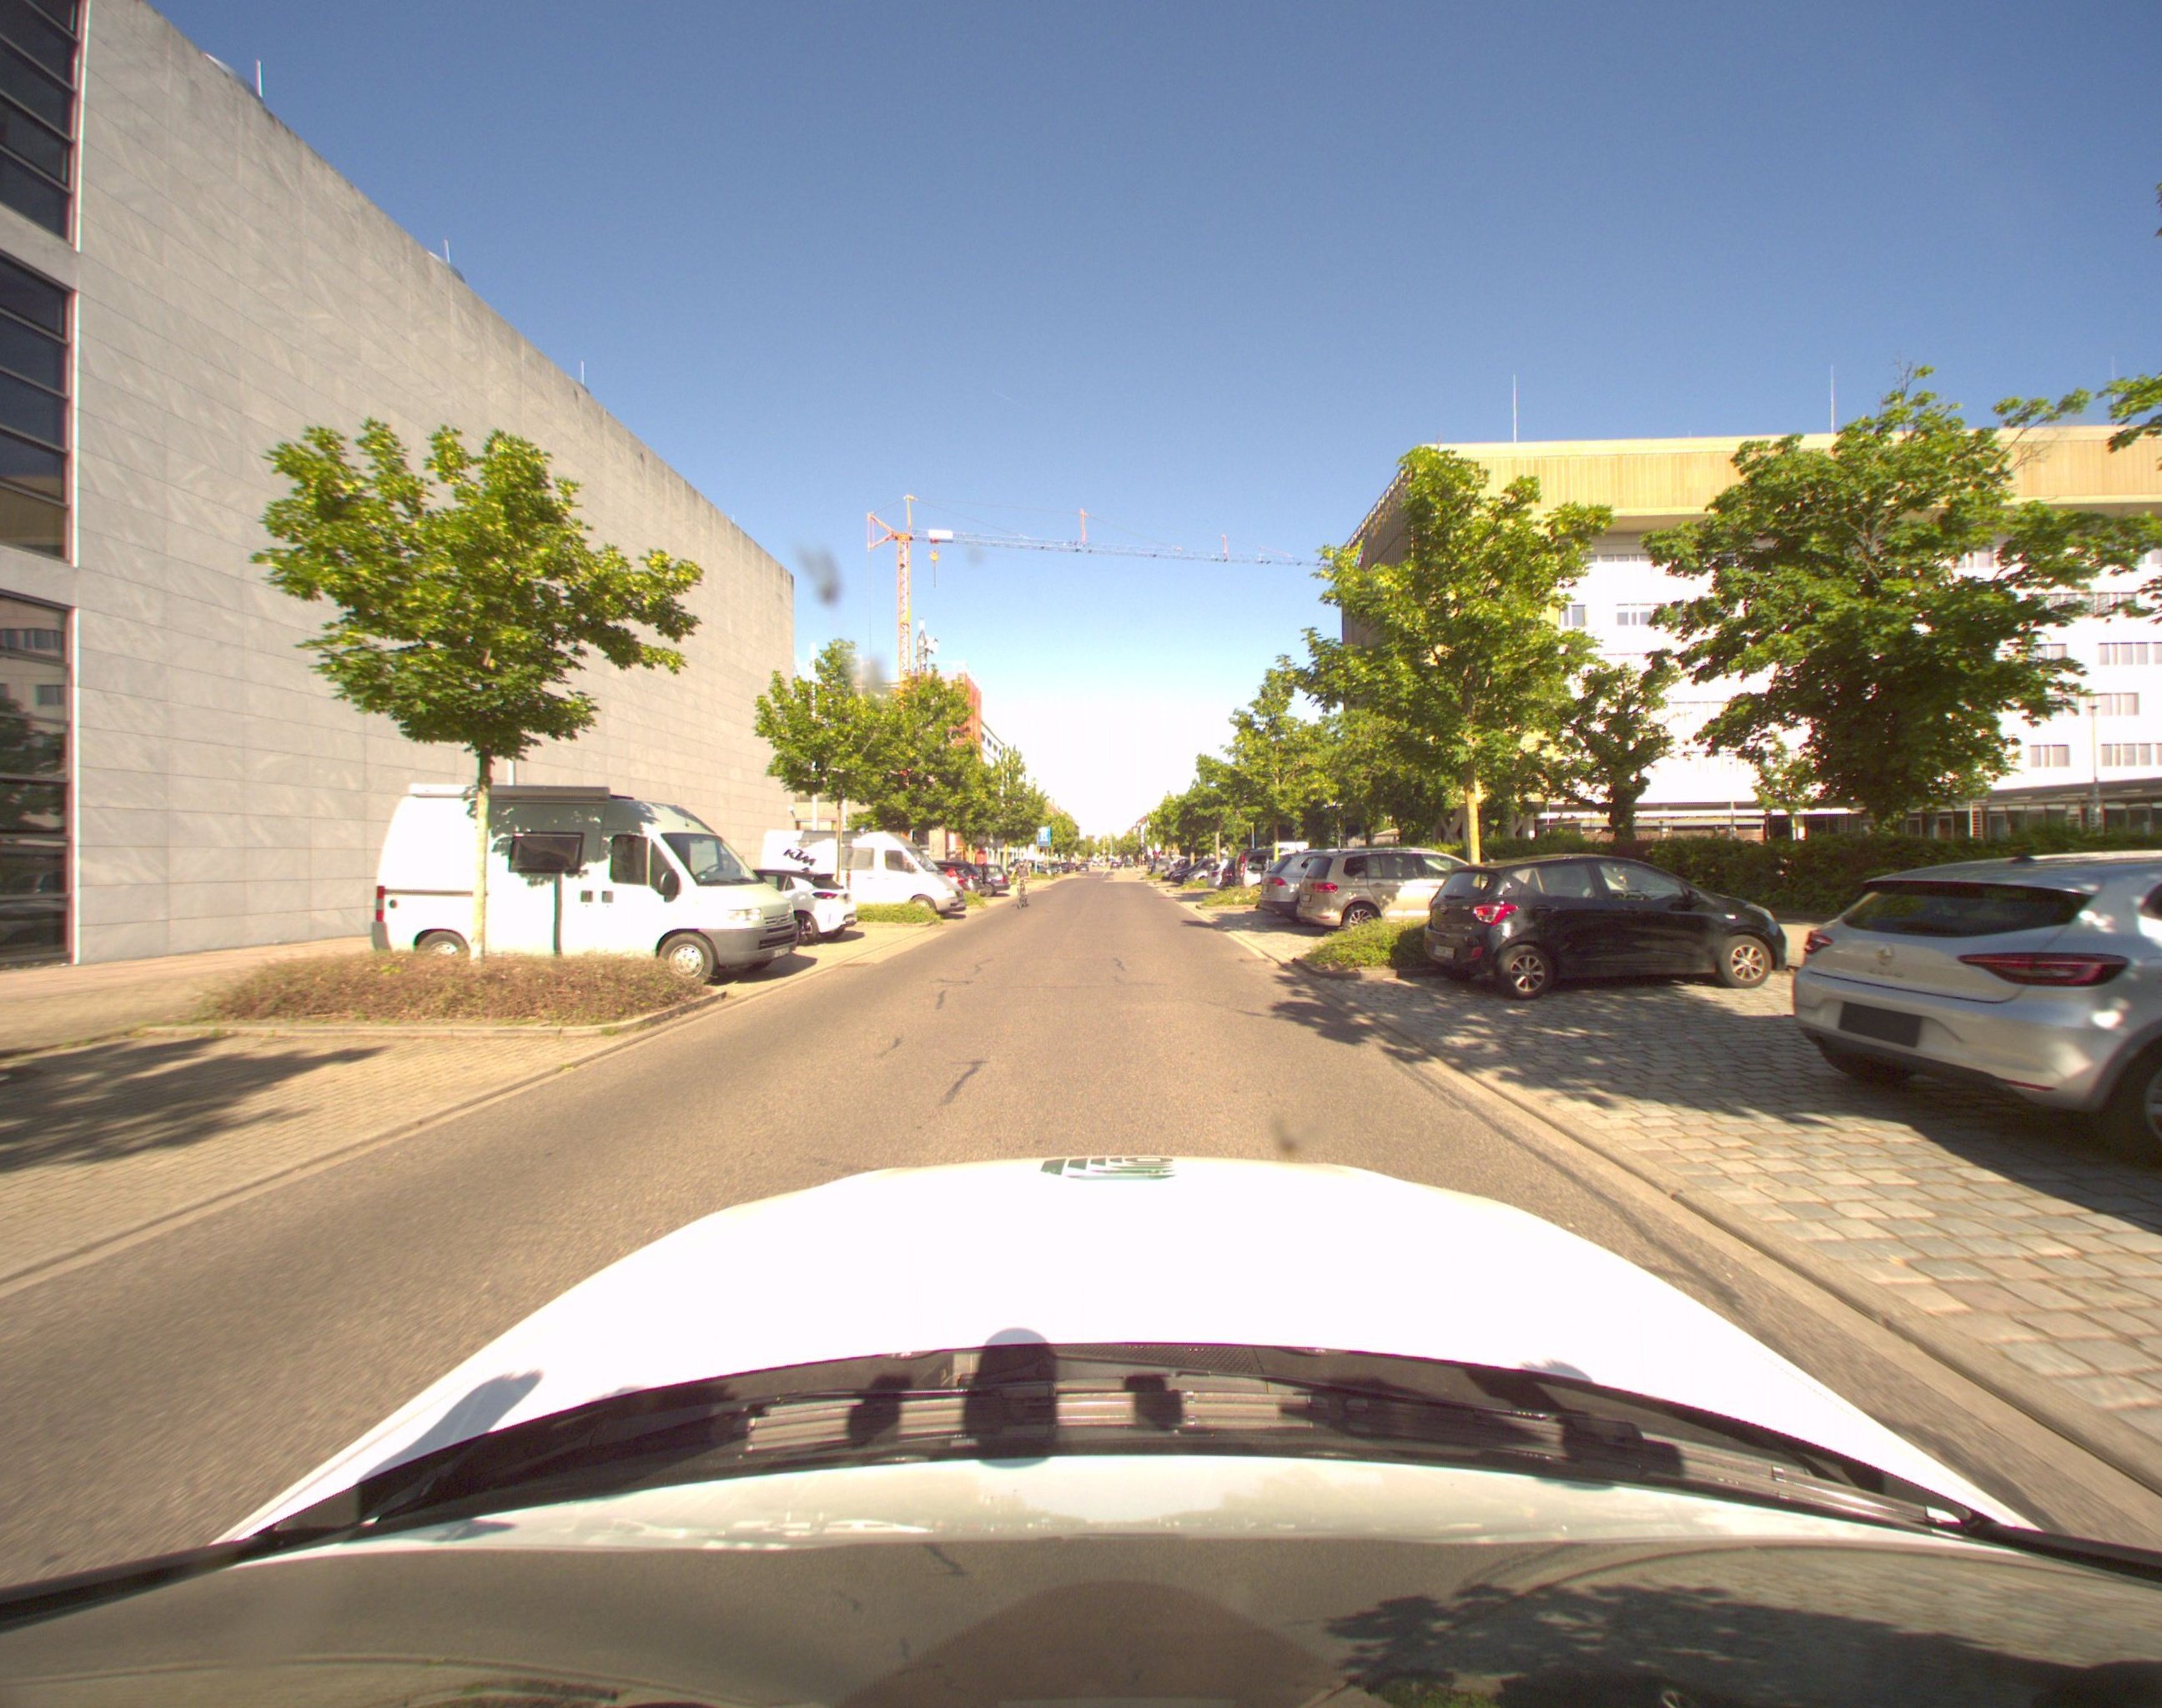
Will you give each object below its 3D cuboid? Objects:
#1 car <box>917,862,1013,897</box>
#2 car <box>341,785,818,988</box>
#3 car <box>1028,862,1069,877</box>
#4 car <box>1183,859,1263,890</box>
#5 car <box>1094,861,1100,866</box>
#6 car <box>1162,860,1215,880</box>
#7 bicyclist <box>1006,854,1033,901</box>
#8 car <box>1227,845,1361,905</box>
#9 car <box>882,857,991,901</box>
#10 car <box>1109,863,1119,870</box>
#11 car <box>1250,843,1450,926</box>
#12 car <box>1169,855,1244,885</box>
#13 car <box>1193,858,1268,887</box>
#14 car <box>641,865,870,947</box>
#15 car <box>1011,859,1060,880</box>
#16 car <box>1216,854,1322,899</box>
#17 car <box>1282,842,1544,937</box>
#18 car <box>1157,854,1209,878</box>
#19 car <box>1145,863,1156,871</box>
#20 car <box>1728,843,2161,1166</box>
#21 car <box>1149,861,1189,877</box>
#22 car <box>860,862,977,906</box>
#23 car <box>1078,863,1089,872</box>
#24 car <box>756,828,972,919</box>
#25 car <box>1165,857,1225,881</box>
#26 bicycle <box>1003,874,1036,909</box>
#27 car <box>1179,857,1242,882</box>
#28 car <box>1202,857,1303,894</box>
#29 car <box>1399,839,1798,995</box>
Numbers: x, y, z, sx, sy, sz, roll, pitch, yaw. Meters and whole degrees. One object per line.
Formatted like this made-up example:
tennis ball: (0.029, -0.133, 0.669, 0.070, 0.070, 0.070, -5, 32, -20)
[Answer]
car: (-5.299, 1.145, 37.569, 4.118, 1.492, 1.868, 1, 1, -1)
car: (-6.636, 0.398, 11.240, 5.226, 2.418, 2.125, 1, -1, 3)
car: (-3.456, 1.683, 86.965, 4.319, 1.474, 1.817, -1, 0, -2)
car: (7.365, 1.034, 42.398, 3.886, 1.486, 1.743, -1, 0, 1)
car: (4.791, 2.826, 244.760, 1.804, 1.474, 4.114, -1, 0, 3)
car: (8.116, 1.213, 61.617, 3.752, 1.459, 1.818, -1, -1, 1)
bicyclist: (-2.088, 0.793, 27.851, 0.680, 1.581, 1.063, -2, -1, 7)
car: (7.273, 0.688, 28.098, 4.105, 1.927, 1.978, -1, 1, 0)
car: (-5.835, 0.991, 33.098, 3.968, 1.664, 1.830, 1, -1, 5)
car: (6.733, 2.545, 166.089, 1.804, 1.474, 4.114, -1, 0, 3)
car: (5.978, 0.638, 18.445, 3.886, 1.695, 1.940, -1, 1, 0)
car: (7.269, 0.922, 47.454, 4.130, 1.580, 1.741, -2, 0, 1)
car: (8.244, 1.012, 45.126, 3.850, 1.504, 1.652, -1, 0, -1)
car: (-6.450, 0.996, 16.435, 3.813, 1.472, 1.850, 1, 0, 4)
car: (-4.007, 1.371, 72.181, 4.246, 1.665, 1.600, -1, 0, 1)
car: (7.055, 0.841, 30.758, 3.594, 1.549, 1.707, -1, 1, 0)
car: (6.337, 0.657, 15.903, 4.308, 1.608, 1.911, -2, -1, -2)
car: (8.208, 0.960, 65.604, 3.971, 1.879, 1.683, -1, 0, 2)
car: (14.537, 2.707, 169.723, 1.983, 1.474, 4.110, -1, 0, 0)
car: (6.218, 0.659, 4.526, 3.716, 1.416, 1.844, -2, 0, 3)
car: (8.896, 1.495, 82.089, 3.893, 1.475, 1.760, -1, -2, 6)
car: (-6.078, 1.115, 30.759, 3.971, 1.517, 1.856, -1, -1, 2)
car: (0.479, 2.340, 139.634, 1.805, 1.474, 4.112, -1, 0, 1)
car: (-6.043, 0.513, 23.133, 5.527, 2.410, 1.990, 1, 0, 3)
car: (7.909, 1.028, 56.982, 3.971, 1.582, 2.033, -1, -1, 2)
bicycle: (-2.074, 1.251, 27.790, 0.694, 1.111, 2.083, -2, -1, 7)
car: (8.570, 1.040, 54.187, 3.971, 1.538, 1.862, -1, -1, 2)
car: (7.376, 0.917, 35.347, 4.044, 1.426, 1.743, -2, -1, 3)
car: (5.734, 0.676, 9.365, 3.441, 1.489, 1.746, -2, -1, 0)
